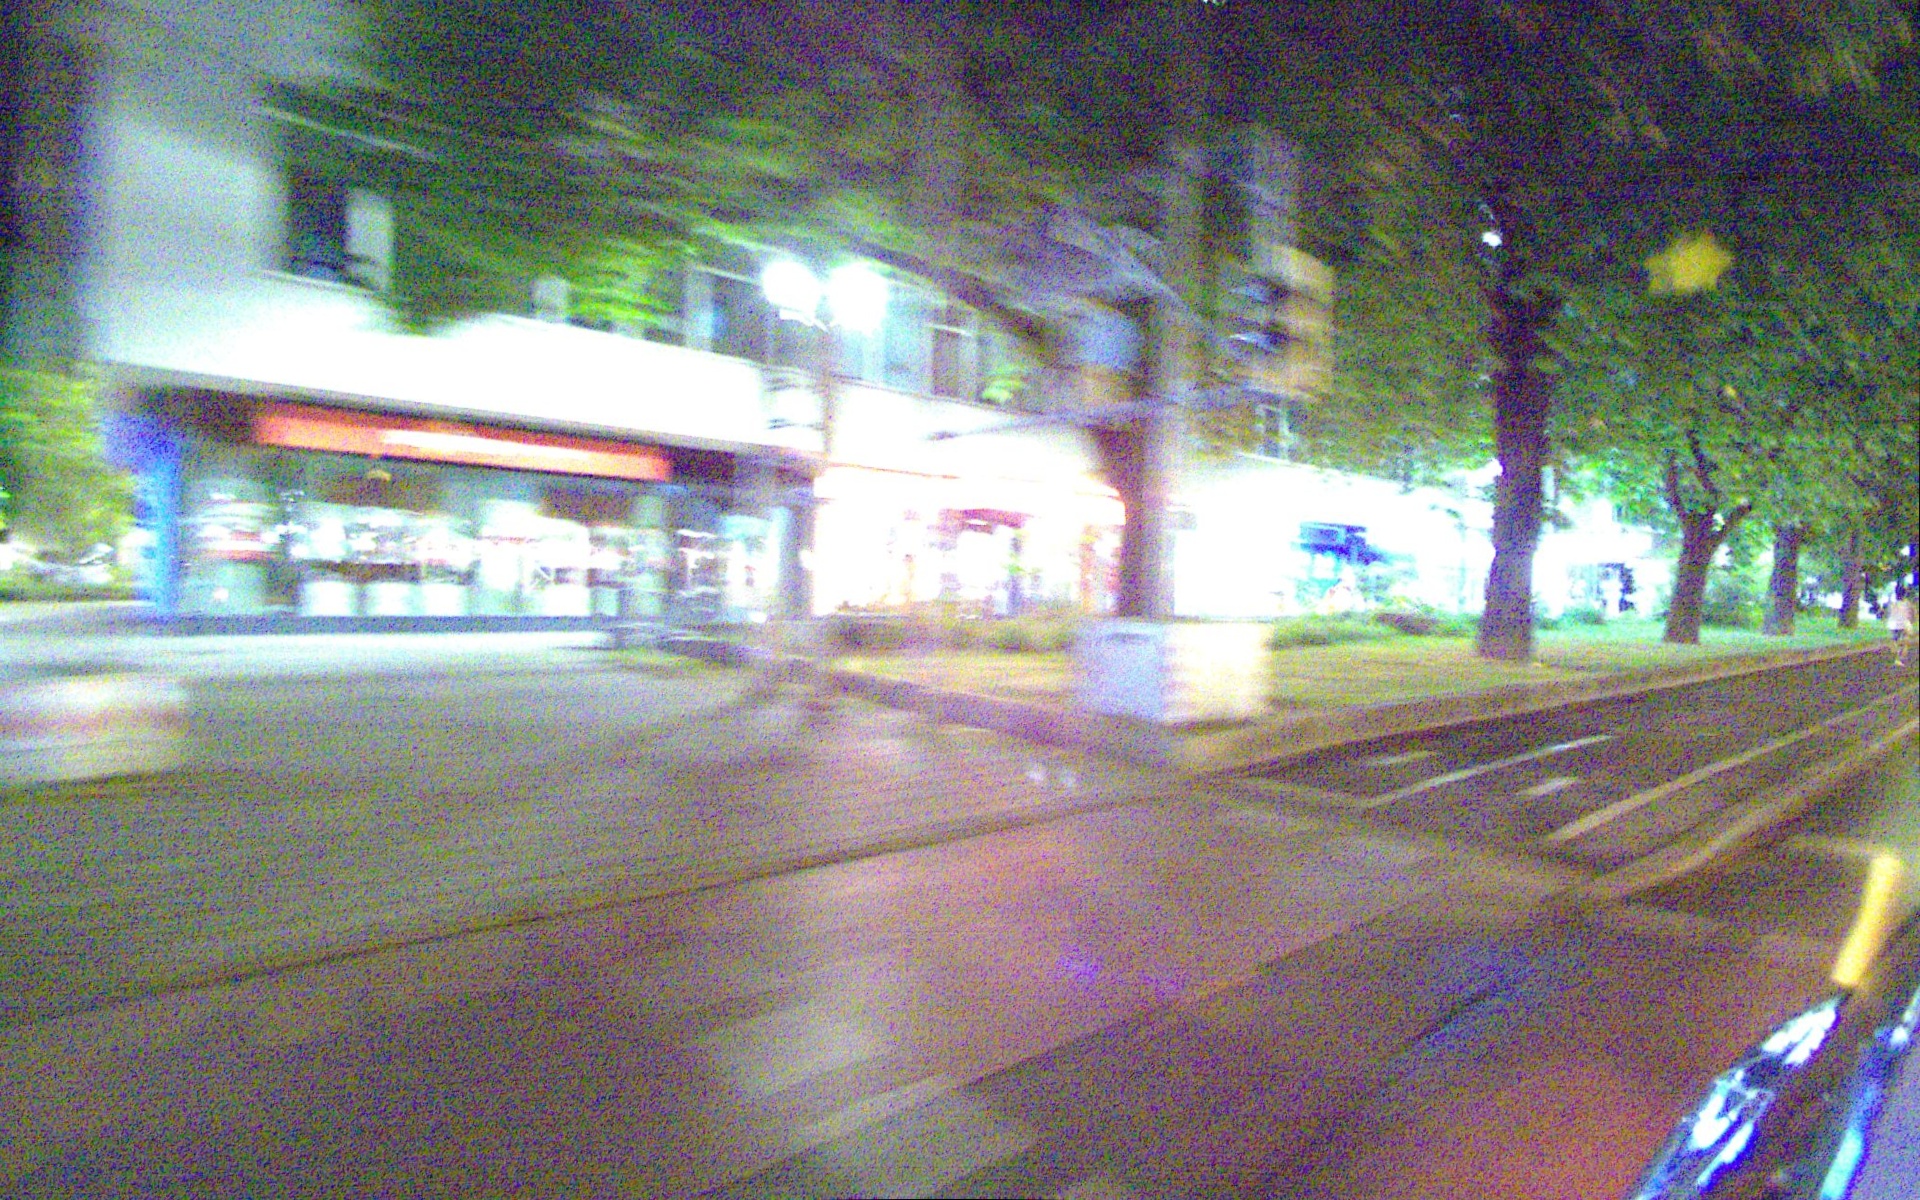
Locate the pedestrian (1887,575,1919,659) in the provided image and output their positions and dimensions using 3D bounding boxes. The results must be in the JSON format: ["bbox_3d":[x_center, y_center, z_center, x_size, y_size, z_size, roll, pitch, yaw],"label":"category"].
[{"bbox_3d":[21.576,0.371,22.903,1.063,1.841,0.704,0,2,-40],"label":"pedestrian"}]

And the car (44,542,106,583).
[{"bbox_3d":[-34.069,-1.450,39.004,1.696,1.469,3.994,0,2,-41],"label":"car"}]
